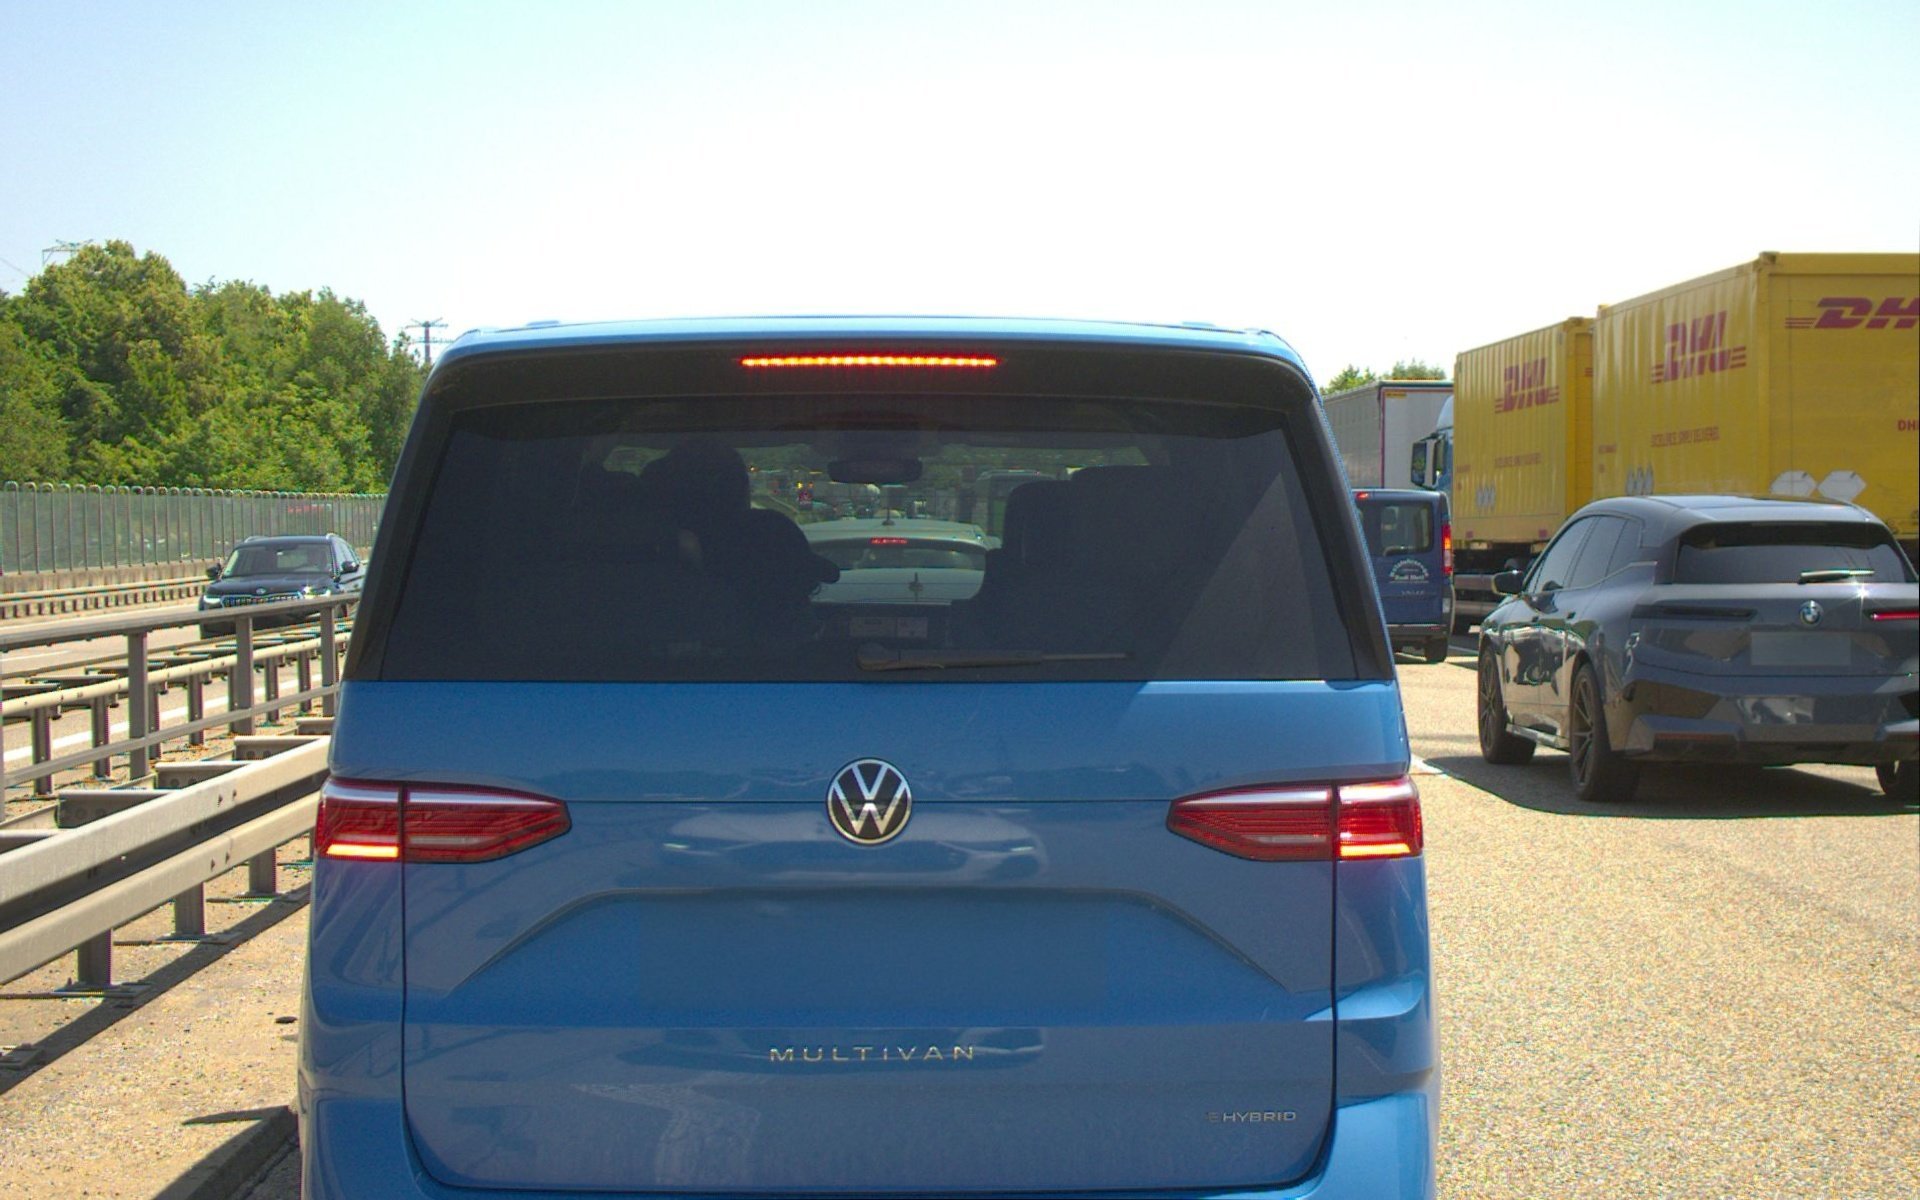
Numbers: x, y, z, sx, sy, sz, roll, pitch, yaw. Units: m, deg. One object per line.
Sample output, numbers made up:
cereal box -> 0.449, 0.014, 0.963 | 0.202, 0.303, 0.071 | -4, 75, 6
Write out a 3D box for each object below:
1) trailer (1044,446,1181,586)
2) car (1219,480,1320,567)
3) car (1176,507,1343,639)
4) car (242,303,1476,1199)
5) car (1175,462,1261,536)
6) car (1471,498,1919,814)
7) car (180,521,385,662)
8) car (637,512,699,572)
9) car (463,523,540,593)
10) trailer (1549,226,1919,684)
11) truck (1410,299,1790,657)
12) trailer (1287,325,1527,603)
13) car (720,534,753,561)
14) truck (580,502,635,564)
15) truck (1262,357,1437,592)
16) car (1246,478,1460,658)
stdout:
trailer -> 3.409, -1.878, 79.282 | 2.569, 2.980, 10.663 | 1, 1, 0
car -> 7.364, -1.809, 82.112 | 1.993, 2.007, 4.000 | 1, 1, -1
car -> 4.222, -0.412, 49.021 | 1.993, 1.809, 4.000 | 0, 1, -1
car -> -0.173, 0.463, 7.157 | 1.820, 1.851, 4.075 | 1, 1, -1
car -> 7.195, -2.810, 96.137 | 1.993, 2.007, 4.461 | -1, 1, -1
car -> 4.298, 0.247, 20.000 | 1.962, 1.639, 4.293 | 0, 1, -1
car -> -9.150, -0.158, 46.786 | 1.867, 1.694, 4.431 | -4, 1, -1
car -> -10.898, -2.188, 128.591 | 1.863, 2.123, 4.268 | -3, 1, 0
car -> -15.336, -1.421, 115.209 | 1.993, 2.208, 4.268 | -3, 1, -1
trailer -> 8.515, -1.395, 36.376 | 2.864, 4.224, 9.012 | 1, 1, -1
truck -> 8.338, -1.545, 46.414 | 2.836, 4.228, 11.011 | 1, 1, -1
trailer -> 7.814, -2.332, 61.619 | 2.637, 4.501, 11.302 | 1, 1, -1
car -> -13.027, -3.070, 200.496 | 1.619, 1.459, 3.702 | -2, 1, 0
truck -> -19.952, -3.810, 194.762 | 2.497, 3.354, 5.834 | -2, 1, -1
truck -> 7.719, -2.444, 68.910 | 2.667, 4.469, 6.850 | 0, 1, 0
car -> 4.528, -0.397, 40.185 | 1.962, 1.986, 4.293 | 0, 1, -1
